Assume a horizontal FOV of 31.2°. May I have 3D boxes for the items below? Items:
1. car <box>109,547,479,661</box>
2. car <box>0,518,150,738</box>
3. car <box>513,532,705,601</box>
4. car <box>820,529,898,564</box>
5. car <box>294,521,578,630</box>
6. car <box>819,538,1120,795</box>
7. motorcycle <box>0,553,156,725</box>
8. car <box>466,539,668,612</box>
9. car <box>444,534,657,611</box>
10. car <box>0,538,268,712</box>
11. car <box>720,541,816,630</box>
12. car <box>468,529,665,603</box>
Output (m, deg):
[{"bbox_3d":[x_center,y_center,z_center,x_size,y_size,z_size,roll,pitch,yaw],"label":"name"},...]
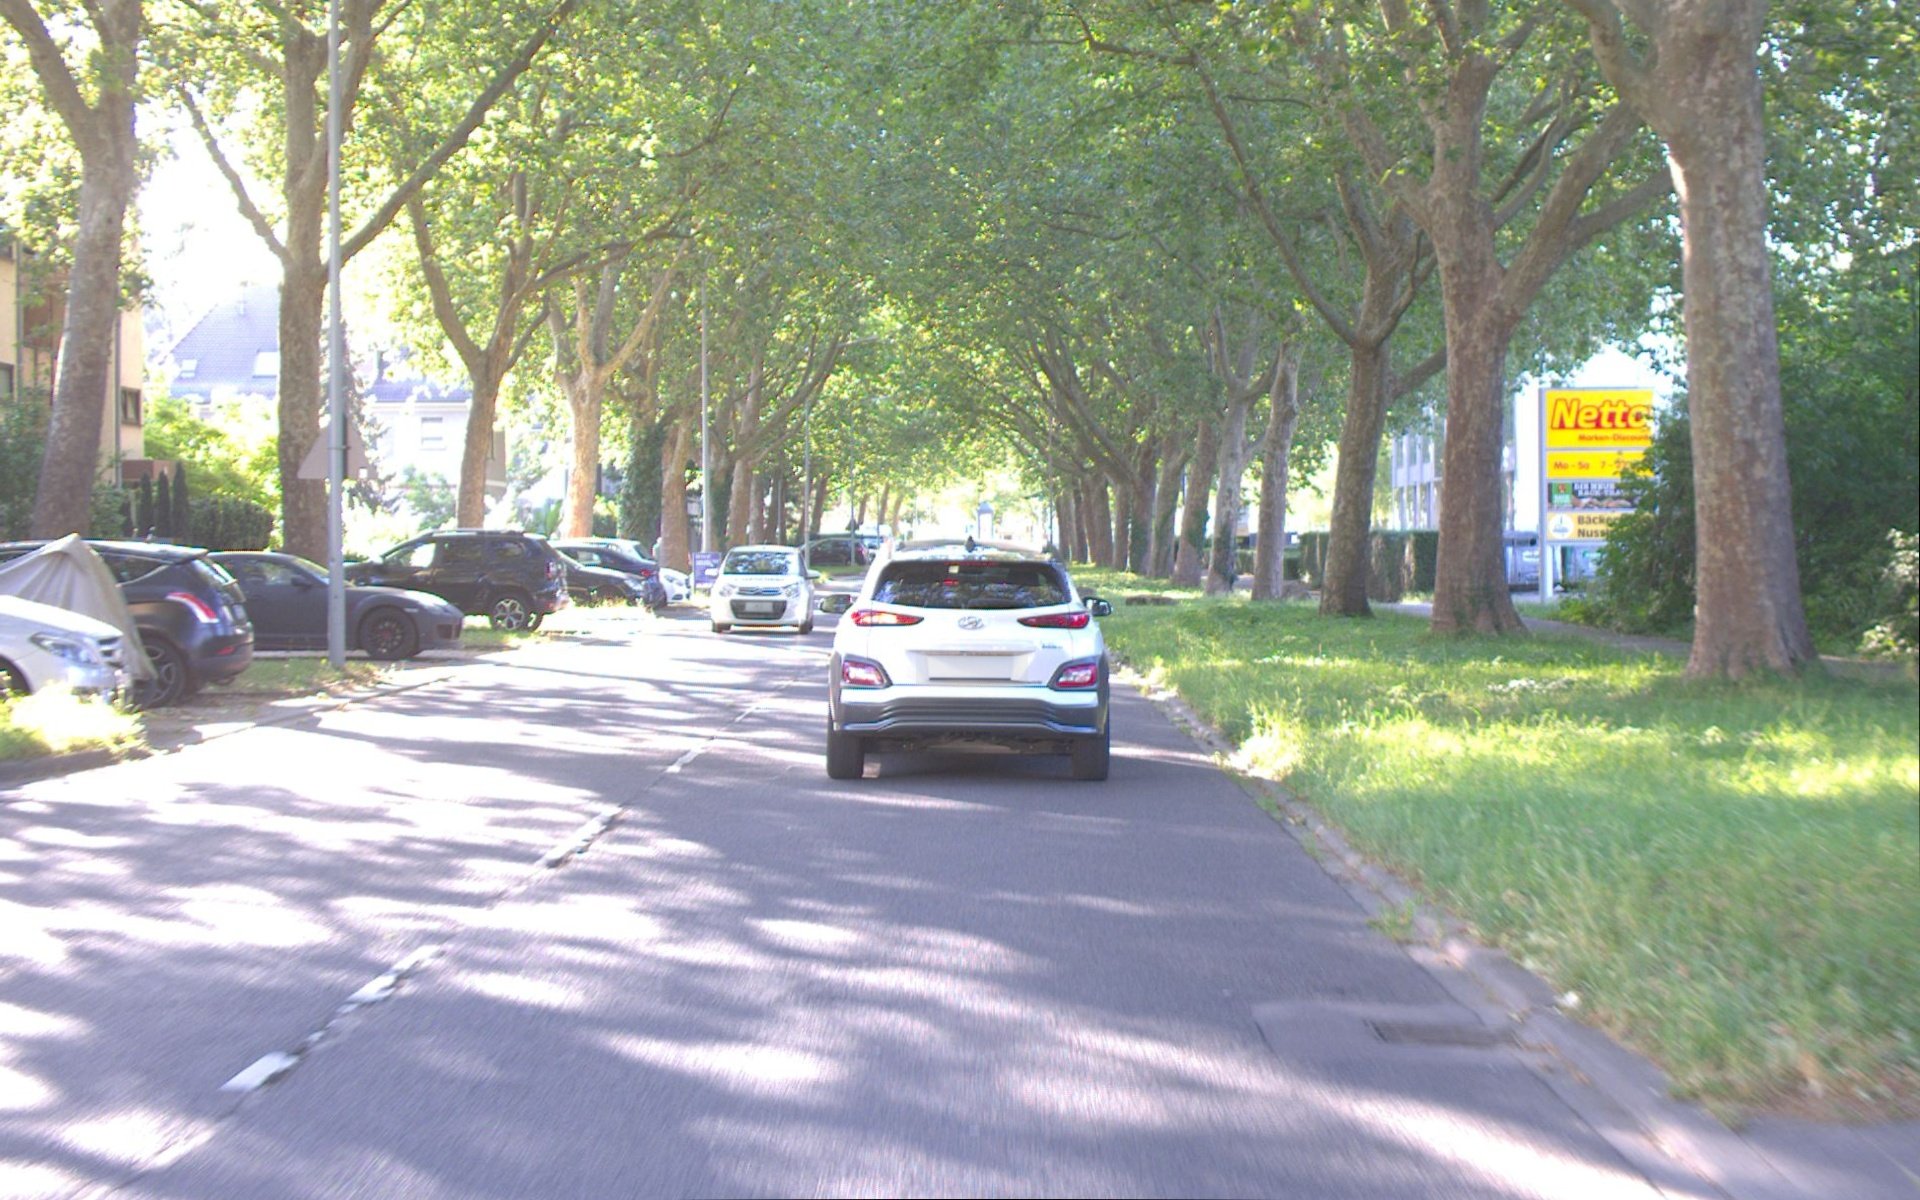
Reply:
[{"bbox_3d":[-8.164,0.034,42.379,4.240,1.348,1.741,0,1,-1],"label":"car"},{"bbox_3d":[-8.333,0.164,25.626,4.182,1.579,2.000,1,1,-4],"label":"car"},{"bbox_3d":[-7.708,-0.748,75.669,3.987,1.465,1.809,1,1,2],"label":"car"},{"bbox_3d":[-5.374,-2.826,182.368,3.986,1.766,2.000,1,0,-4],"label":"car"},{"bbox_3d":[-8.262,-0.405,54.419,4.244,1.674,1.671,0,1,0],"label":"car"},{"bbox_3d":[0.051,0.377,23.344,1.835,1.550,4.000,1,1,0],"label":"car"},{"bbox_3d":[-7.845,0.318,28.151,2.385,1.383,0.648,0,1,-5],"label":"motorcycle"},{"bbox_3d":[-7.973,-0.510,70.068,3.986,1.419,1.809,1,1,-3],"label":"car"},{"bbox_3d":[-8.057,-0.549,67.862,3.987,1.465,1.781,1,1,0],"label":"car"},{"bbox_3d":[-8.407,0.198,30.700,4.160,1.501,1.802,0,1,-3],"label":"car"},{"bbox_3d":[-3.227,-0.262,58.066,1.535,1.454,3.185,0,1,-2],"label":"car"},{"bbox_3d":[-8.347,-0.729,73.161,3.987,1.515,1.809,1,1,0],"label":"car"}]
